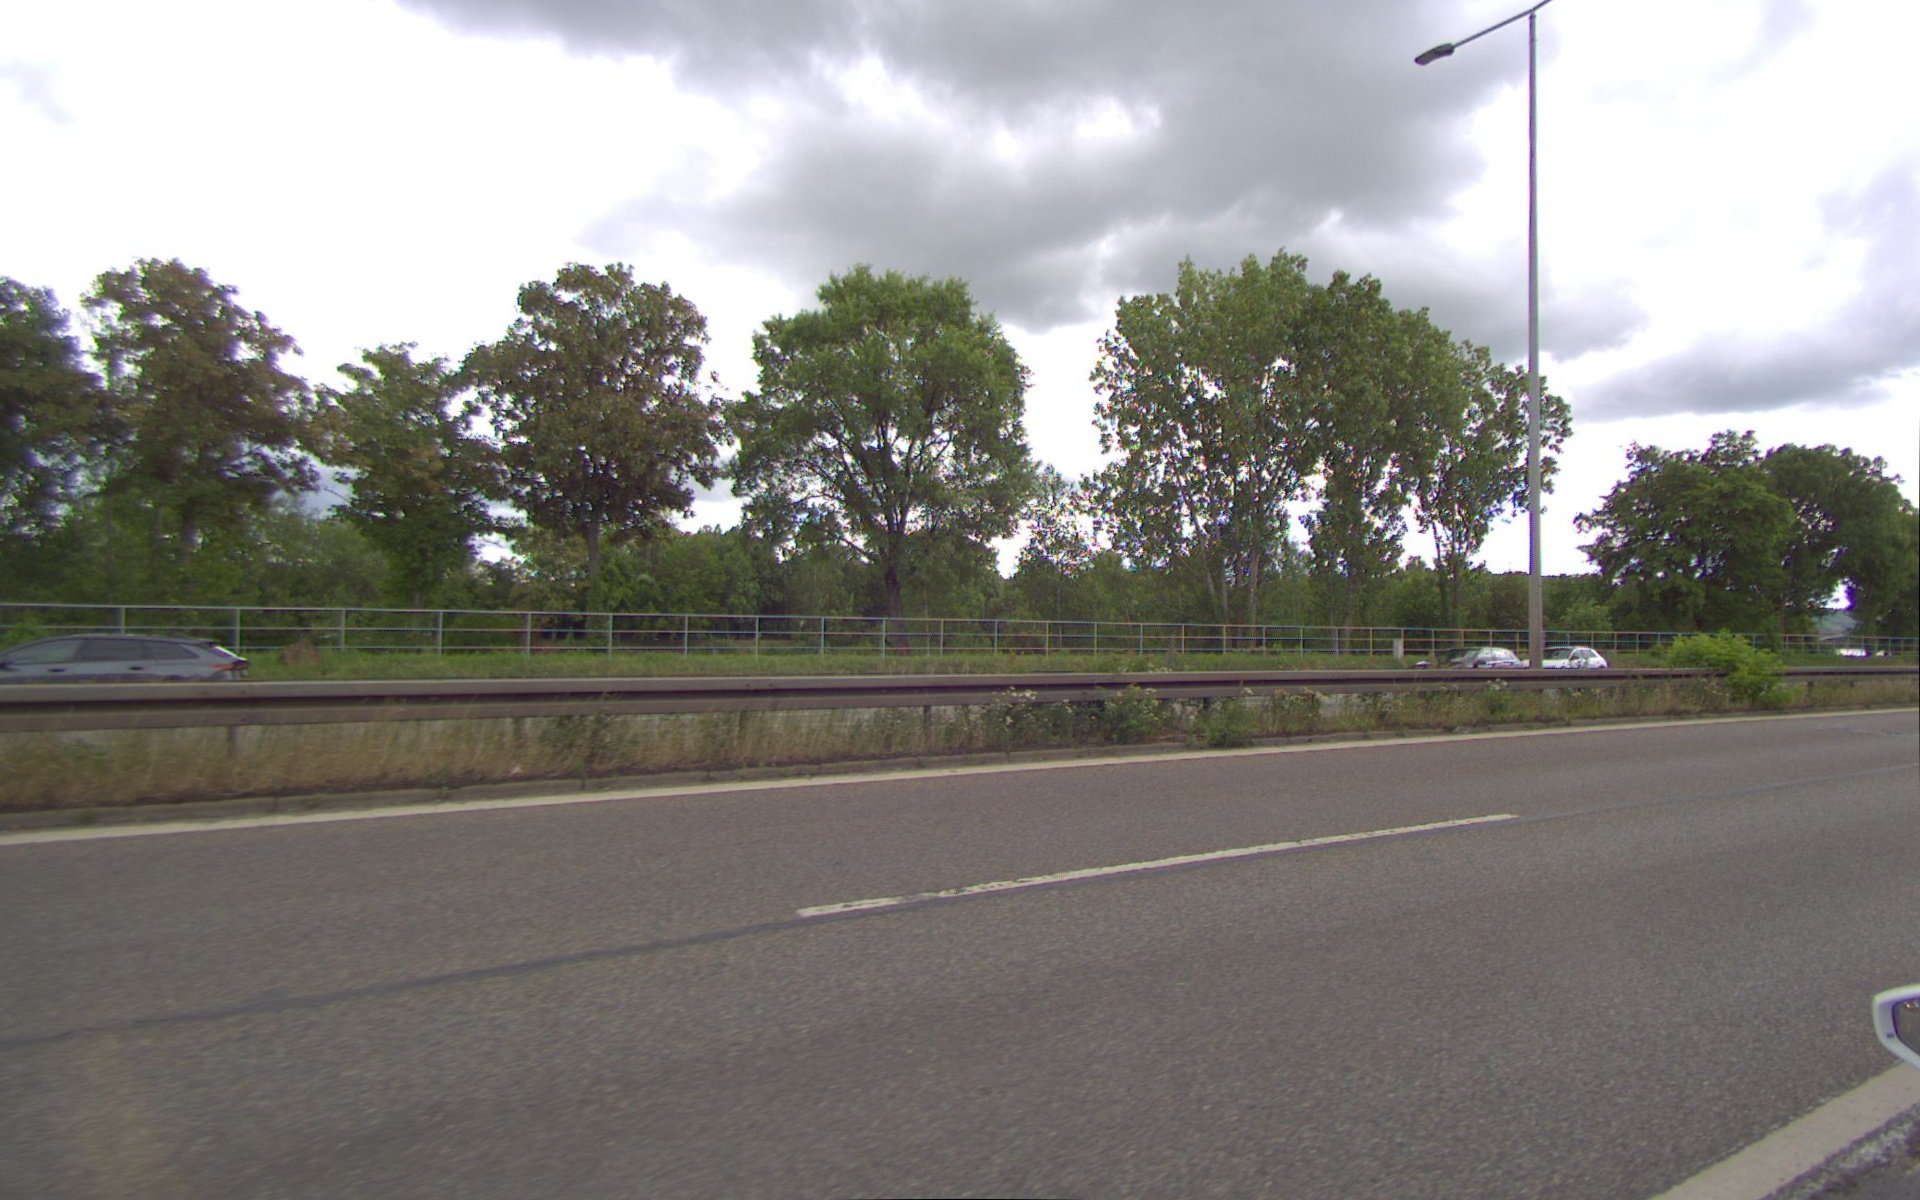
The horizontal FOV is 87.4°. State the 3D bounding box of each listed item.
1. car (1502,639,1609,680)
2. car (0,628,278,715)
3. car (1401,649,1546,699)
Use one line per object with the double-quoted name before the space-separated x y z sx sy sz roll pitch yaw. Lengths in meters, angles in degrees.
"car" 23.280 2.283 39.243 4.153 1.509 1.870 1 -1 -30
"car" -14.272 1.140 16.702 4.734 1.316 1.651 1 -1 -32
"car" 15.392 2.159 30.023 4.734 1.316 1.651 1 -1 -32
